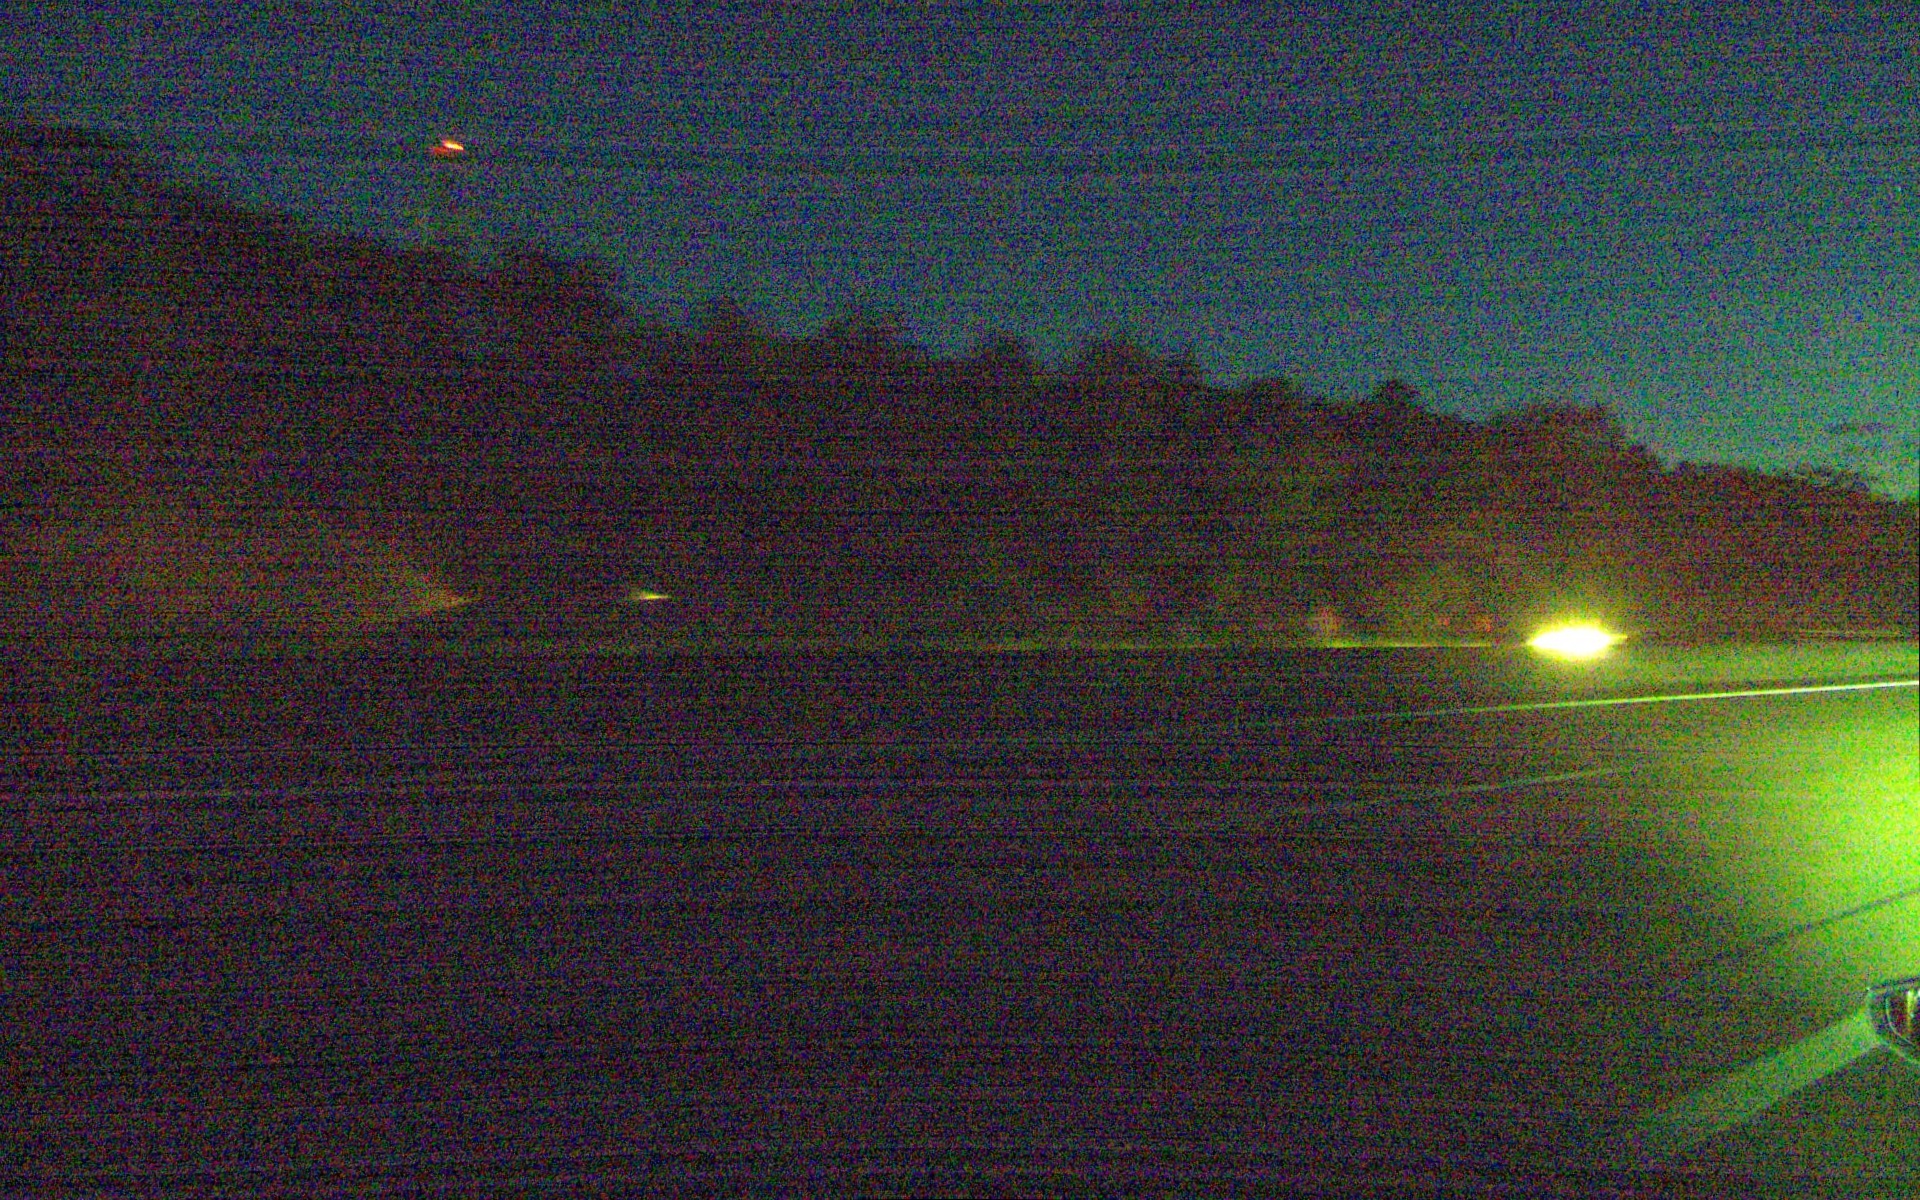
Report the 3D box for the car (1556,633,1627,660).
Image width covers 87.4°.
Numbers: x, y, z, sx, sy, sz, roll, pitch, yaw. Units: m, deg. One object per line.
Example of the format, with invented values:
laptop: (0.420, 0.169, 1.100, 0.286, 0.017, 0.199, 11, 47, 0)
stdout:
car: (32.156, 2.361, 51.111, 3.957, 1.281, 1.582, 2, -1, -33)
